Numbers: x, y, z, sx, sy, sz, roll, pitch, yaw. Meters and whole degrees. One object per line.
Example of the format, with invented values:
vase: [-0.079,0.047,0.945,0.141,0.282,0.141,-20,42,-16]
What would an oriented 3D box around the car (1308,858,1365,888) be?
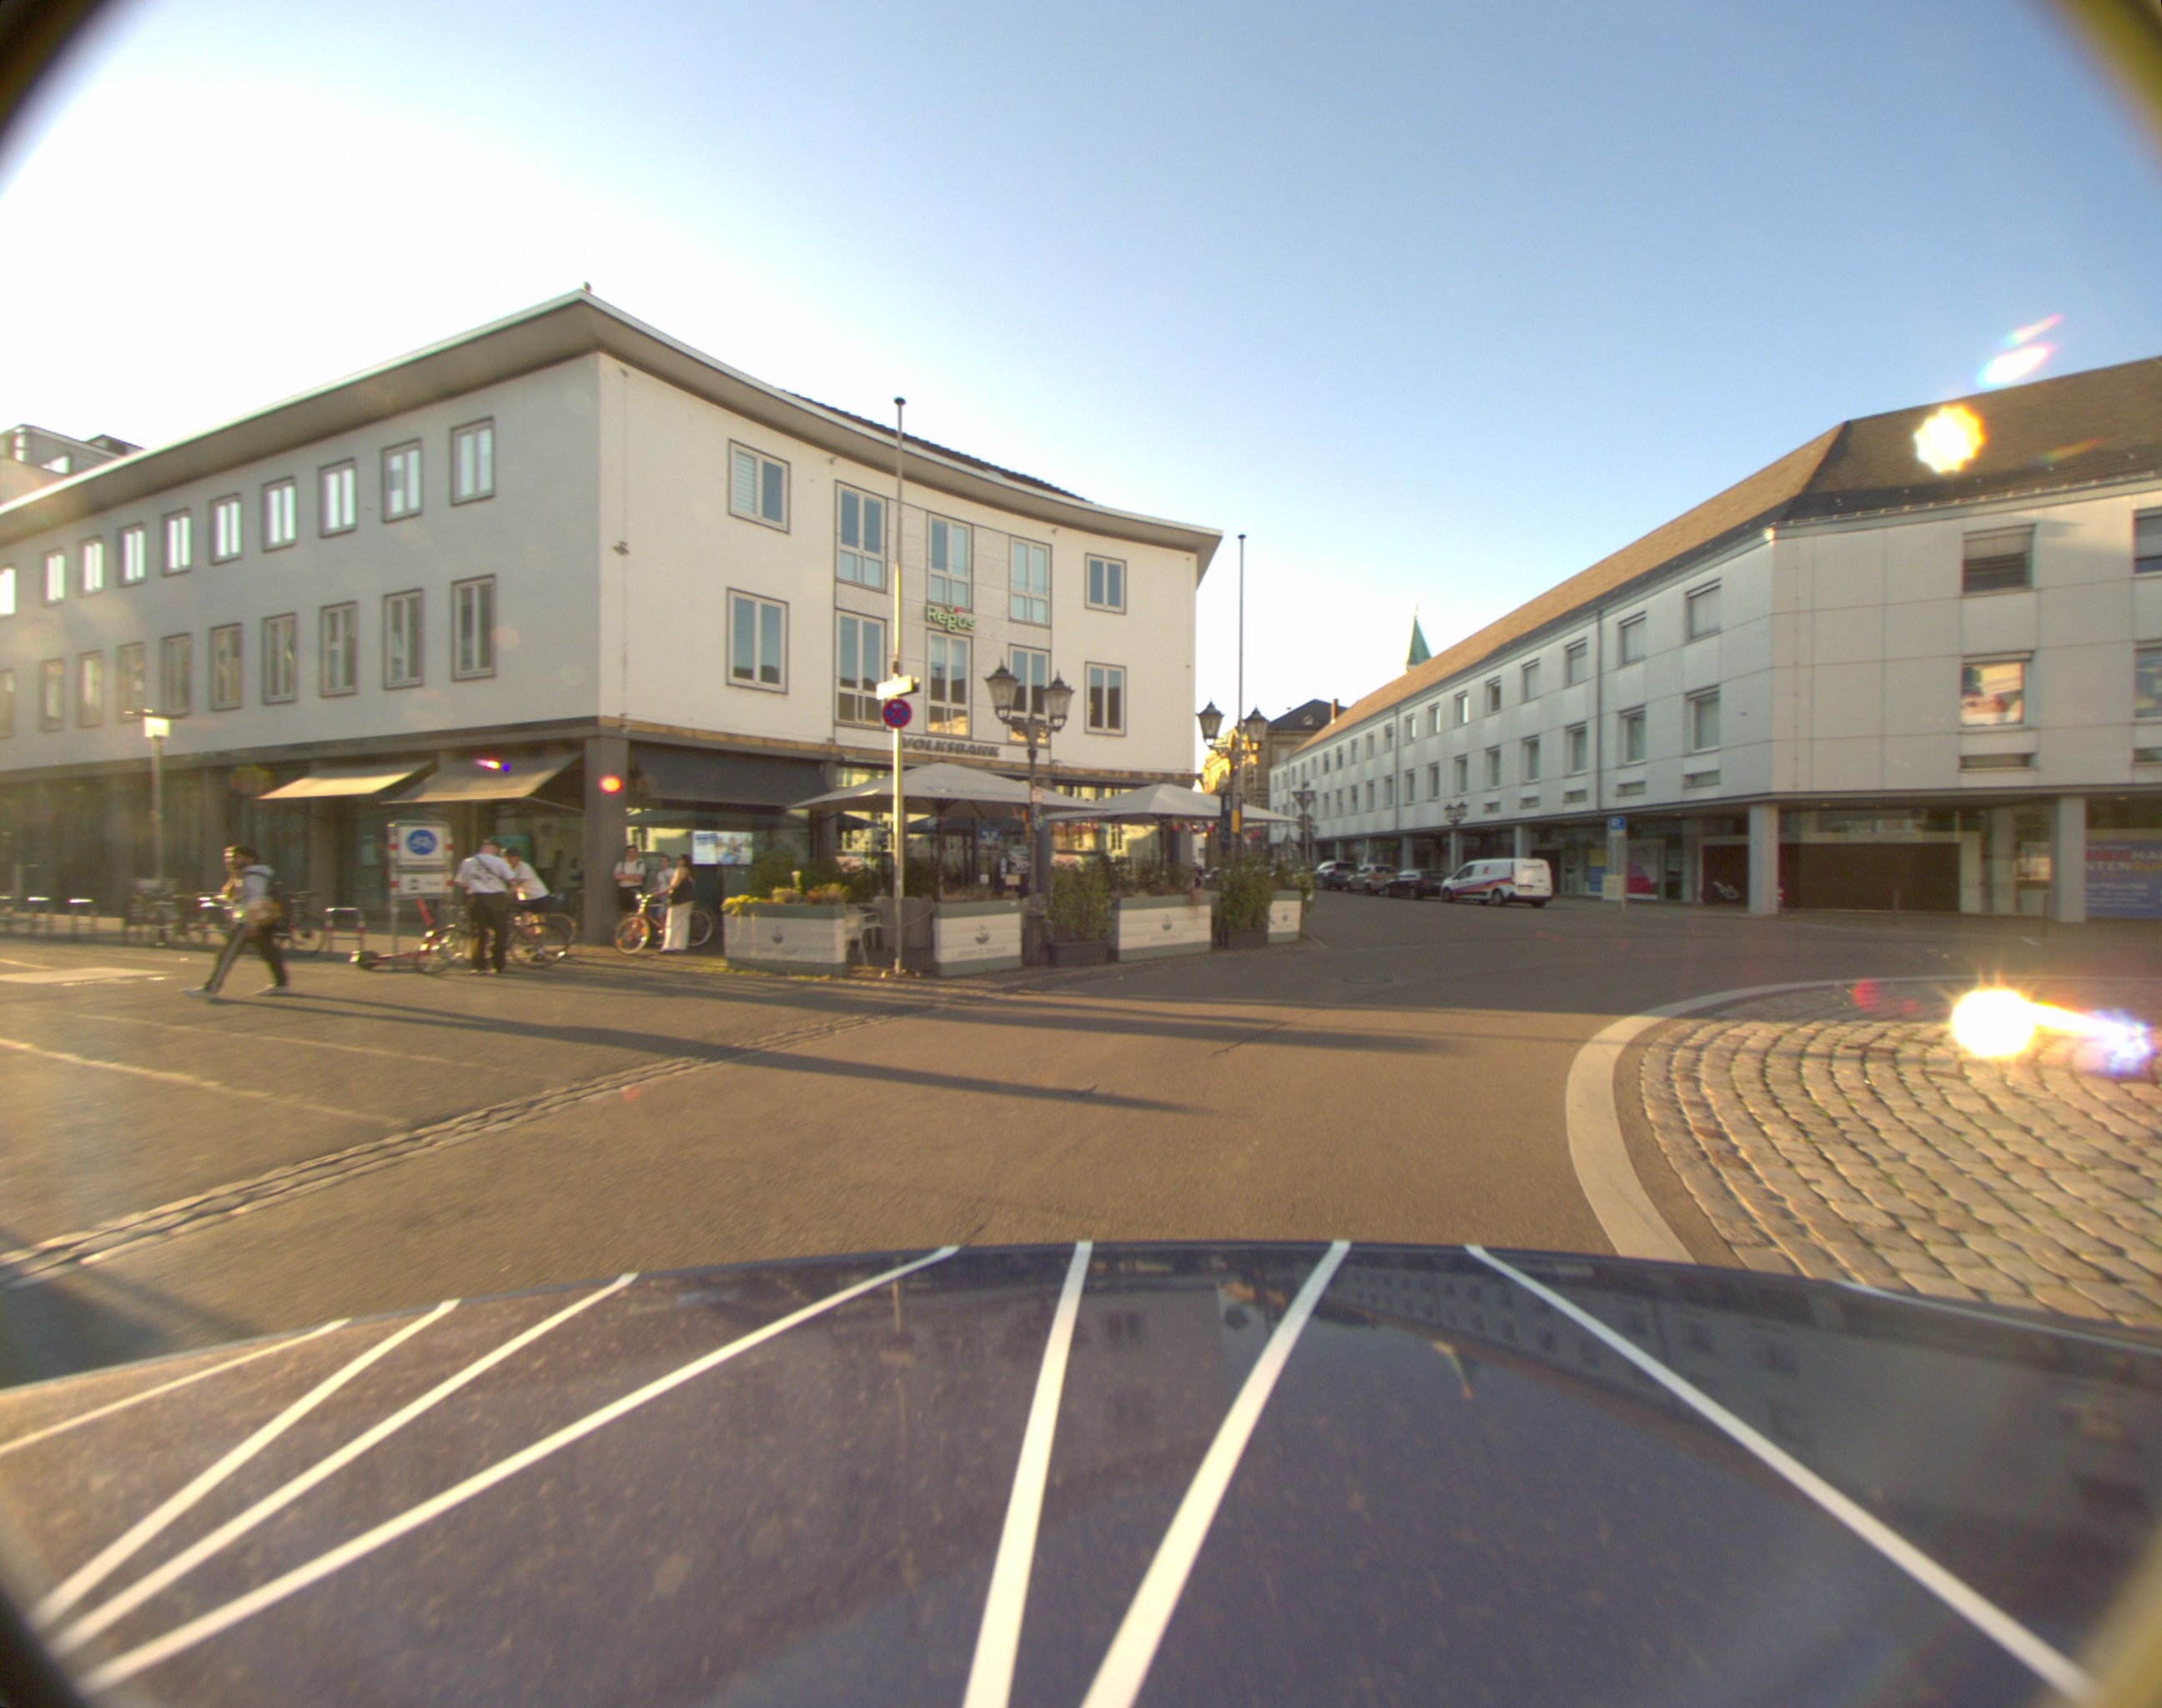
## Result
car: [15.209,1.097,45.379,1.781,1.718,4.327,0,0,-3]

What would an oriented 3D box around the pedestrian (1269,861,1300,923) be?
pedestrian: [5.695,1.044,21.304,0.604,1.690,0.713,0,0,-6]

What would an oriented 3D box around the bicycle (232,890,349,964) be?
bicycle: [-13.271,1.206,12.747,1.960,1.135,0.523,0,0,17]

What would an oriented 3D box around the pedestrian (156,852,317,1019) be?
pedestrian: [-9.351,0.844,8.473,0.936,1.730,0.919,0,0,-28]

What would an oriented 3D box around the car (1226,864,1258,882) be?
car: [14.243,1.668,67.398,1.781,1.483,4.327,0,0,-3]

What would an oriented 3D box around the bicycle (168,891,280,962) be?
bicycle: [-15.050,1.250,13.344,1.960,1.135,0.523,0,0,17]

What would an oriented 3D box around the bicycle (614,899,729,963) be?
bicycle: [-6.914,1.272,12.913,0.473,0.928,1.681,0,0,36]

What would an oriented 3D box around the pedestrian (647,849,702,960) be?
pedestrian: [-6.770,0.820,12.679,0.508,1.807,0.719,0,0,1]

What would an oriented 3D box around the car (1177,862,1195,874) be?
car: [14.656,1.974,106.168,1.781,1.657,4.328,0,0,-1]

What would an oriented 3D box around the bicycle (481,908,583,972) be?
bicycle: [-8.489,1.308,11.820,0.482,0.843,1.484,0,0,1]

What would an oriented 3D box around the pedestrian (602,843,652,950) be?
pedestrian: [-8.273,0.767,13.871,0.580,1.912,0.543,0,0,1]

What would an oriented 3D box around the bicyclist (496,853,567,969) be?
bicyclist: [-8.516,0.857,11.808,0.482,1.733,0.835,0,0,1]

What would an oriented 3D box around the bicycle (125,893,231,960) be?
bicycle: [-16.664,1.315,14.019,1.960,1.135,0.523,0,0,17]

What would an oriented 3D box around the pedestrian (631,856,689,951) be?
pedestrian: [-7.554,0.874,13.662,0.619,1.666,0.734,0,0,1]

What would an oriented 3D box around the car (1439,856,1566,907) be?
car: [16.089,0.993,29.309,2.022,1.815,4.457,0,0,-7]

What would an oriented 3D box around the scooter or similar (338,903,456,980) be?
scooter or similar: [-10.151,1.272,11.311,0.486,1.005,1.207,0,0,30]

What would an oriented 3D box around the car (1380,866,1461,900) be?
car: [15.359,1.289,34.627,1.781,1.416,3.960,0,0,-3]

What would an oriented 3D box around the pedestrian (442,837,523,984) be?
pedestrian: [-8.108,0.741,10.309,0.644,1.917,0.629,0,0,23]

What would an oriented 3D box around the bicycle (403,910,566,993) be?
bicycle: [-8.073,1.288,10.353,0.473,0.928,1.681,0,0,36]

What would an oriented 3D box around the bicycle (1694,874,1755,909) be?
bicycle: [23.201,1.331,27.435,0.481,1.149,1.949,0,0,-1]

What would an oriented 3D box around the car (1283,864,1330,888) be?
car: [15.211,1.465,51.470,1.781,1.483,4.327,0,0,-3]

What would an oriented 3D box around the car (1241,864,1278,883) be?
car: [14.553,1.564,62.200,1.781,1.483,4.327,0,0,-3]

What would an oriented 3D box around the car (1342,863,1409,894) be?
car: [15.164,1.220,39.343,1.781,1.506,3.960,0,0,-3]

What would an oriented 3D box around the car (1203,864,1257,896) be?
car: [7.167,1.224,36.936,1.781,1.416,3.960,0,0,-2]
